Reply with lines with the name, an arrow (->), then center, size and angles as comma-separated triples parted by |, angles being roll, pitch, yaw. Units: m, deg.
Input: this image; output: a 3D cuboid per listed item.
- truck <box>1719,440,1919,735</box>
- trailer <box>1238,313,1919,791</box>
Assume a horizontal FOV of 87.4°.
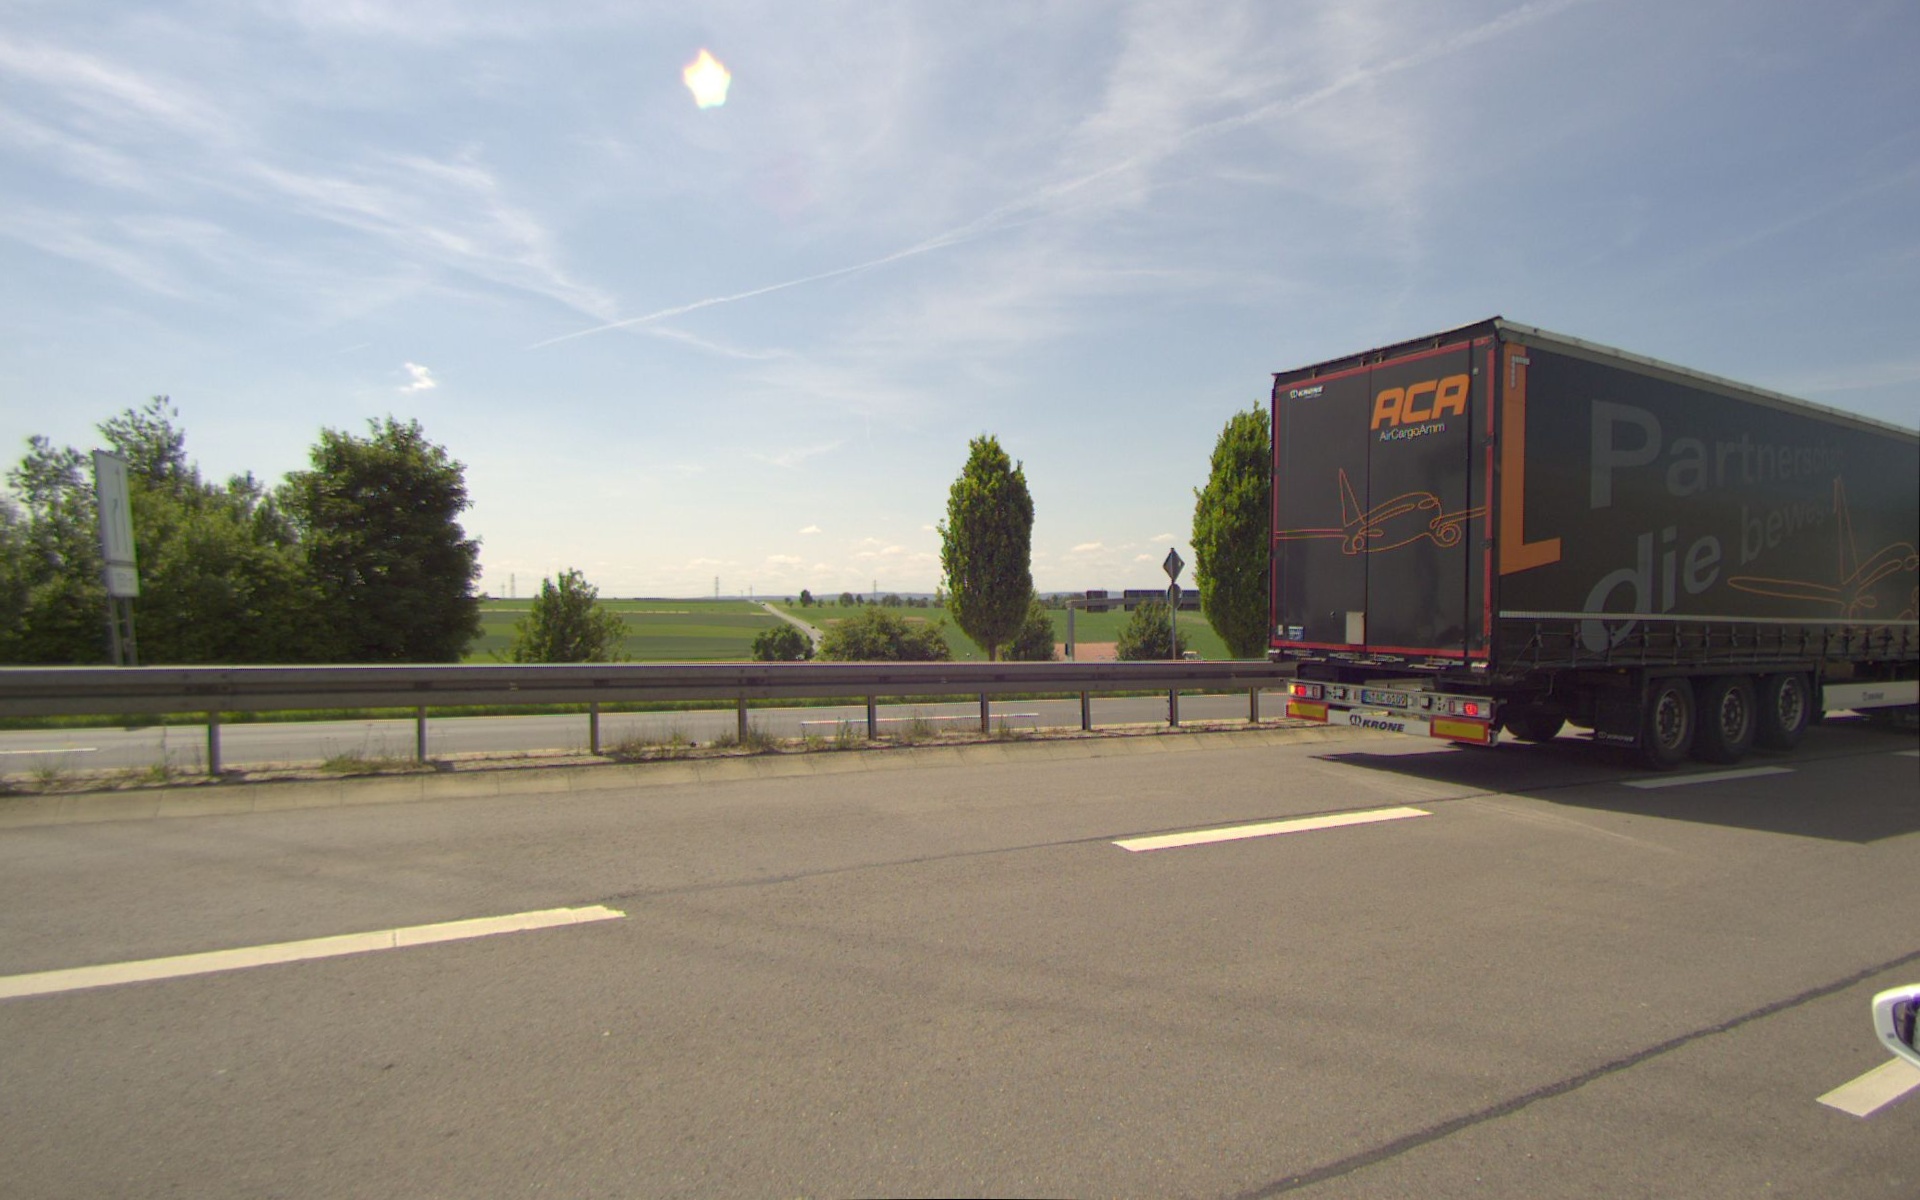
truck -> 15.338, -0.102, 16.207 | 5.900, 4.067, 2.770 | 2, 0, -30
trailer -> 9.597, -0.219, 12.939 | 13.622, 3.965, 2.770 | 2, 0, -30
